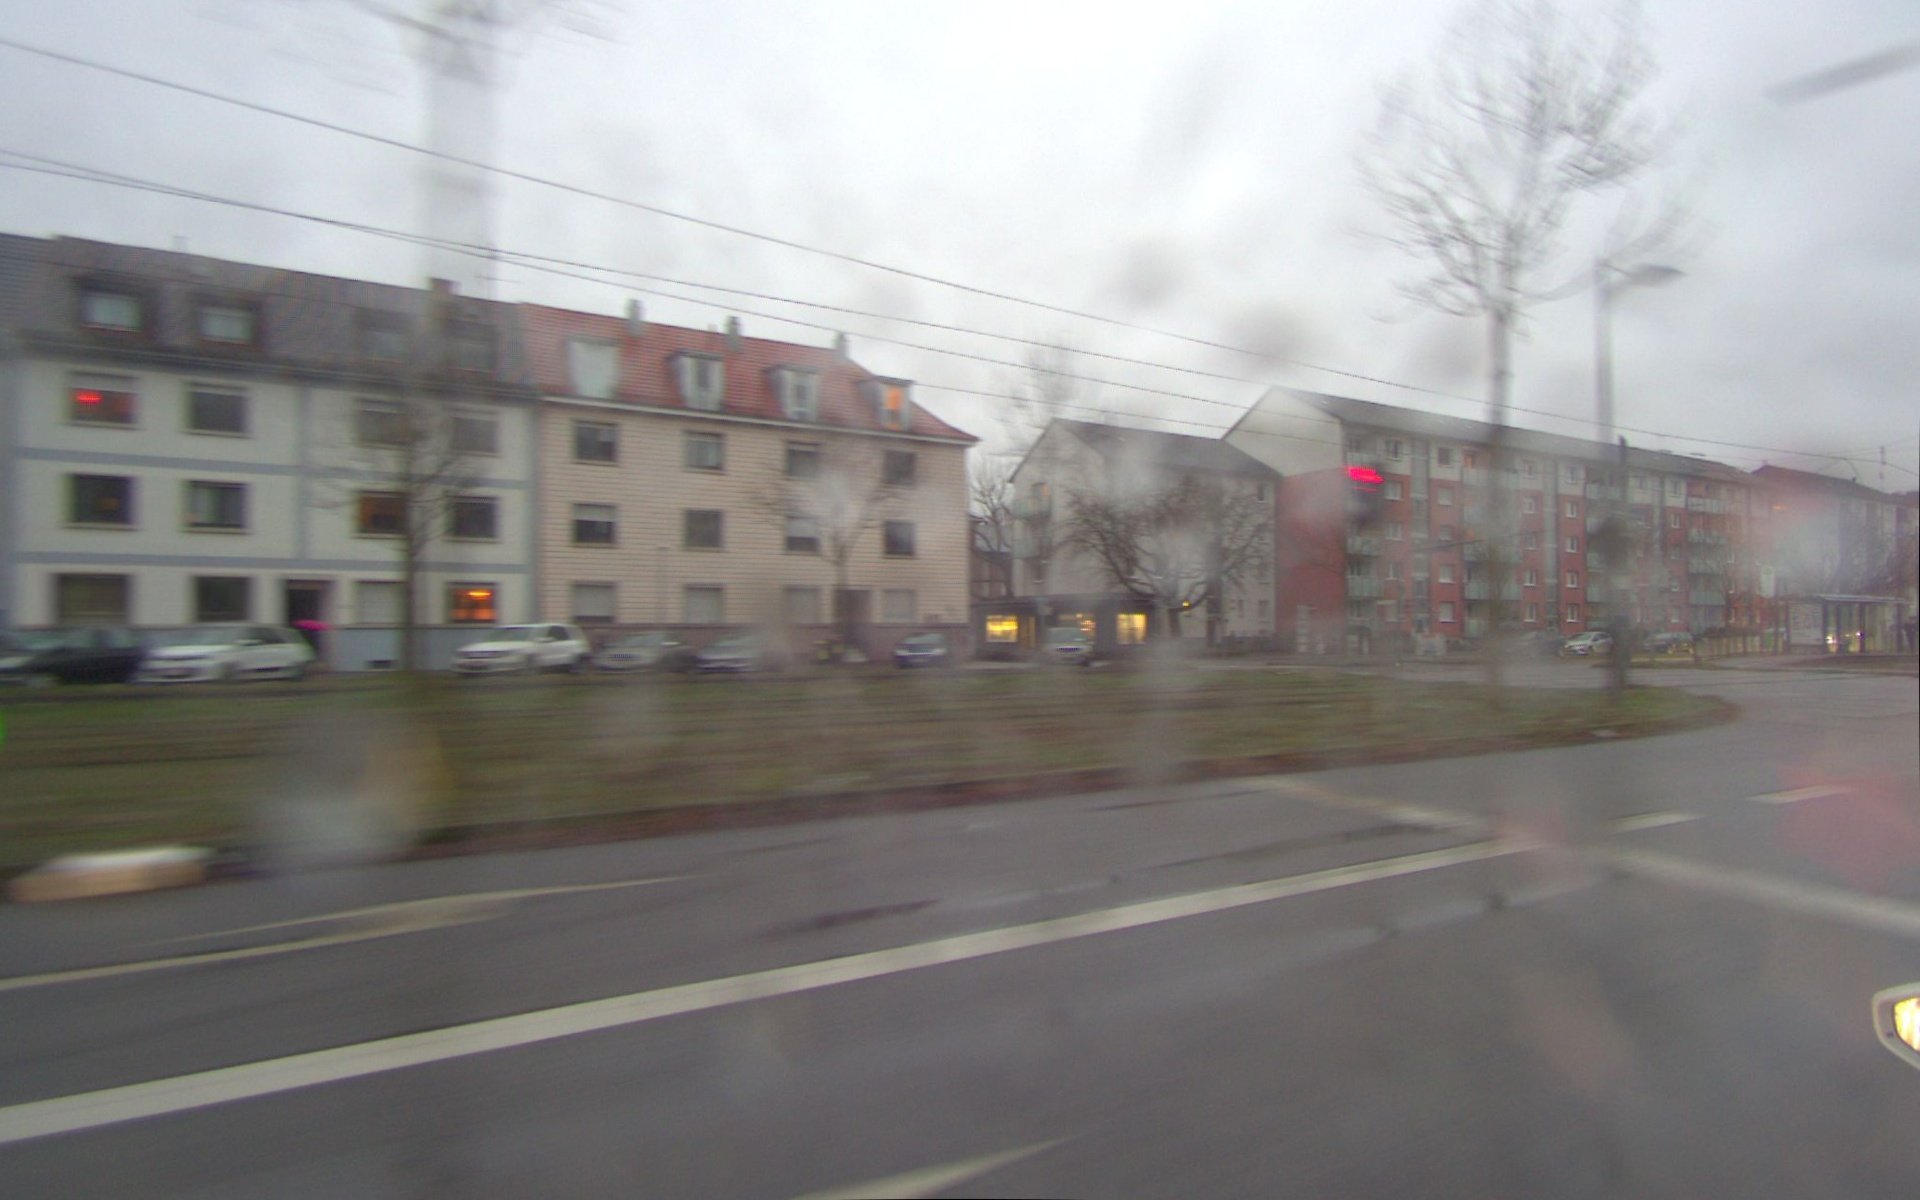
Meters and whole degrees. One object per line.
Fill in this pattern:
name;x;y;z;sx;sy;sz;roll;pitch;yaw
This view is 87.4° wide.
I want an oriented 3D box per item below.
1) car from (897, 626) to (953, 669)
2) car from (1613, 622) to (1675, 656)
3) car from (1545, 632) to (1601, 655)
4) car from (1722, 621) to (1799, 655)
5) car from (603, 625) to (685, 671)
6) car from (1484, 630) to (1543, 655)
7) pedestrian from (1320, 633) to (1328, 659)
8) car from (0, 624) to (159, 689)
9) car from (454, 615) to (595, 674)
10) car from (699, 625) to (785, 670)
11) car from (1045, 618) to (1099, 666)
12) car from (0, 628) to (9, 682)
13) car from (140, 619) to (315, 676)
car;-1.150;1.604;34.751;1.424;1.355;3.770;0;-1;6
car;43.822;2.451;64.355;3.959;2.040;1.981;1;0;-34
car;36.197;2.544;59.293;3.347;1.304;1.437;1;0;-31
car;34.153;1.595;42.848;3.596;1.360;1.437;1;0;-31
car;-9.180;1.368;29.379;1.369;1.163;3.045;1;0;1
car;31.072;2.382;56.358;3.347;1.304;1.437;1;0;-31
pedestrian;16.991;2.139;46.913;0.339;1.200;0.434;1;0;19
car;-20.540;1.220;22.765;1.845;1.216;3.541;1;0;2
car;-11.961;1.169;27.887;1.737;1.397;4.126;1;0;7
car;-6.616;1.405;30.925;1.648;1.131;4.190;1;0;1
car;4.123;1.535;37.488;1.707;1.576;3.799;1;0;3
car;-23.022;1.254;21.595;1.713;1.228;3.541;1;0;2
car;-17.549;1.098;24.260;1.658;1.163;3.419;1;0;2
